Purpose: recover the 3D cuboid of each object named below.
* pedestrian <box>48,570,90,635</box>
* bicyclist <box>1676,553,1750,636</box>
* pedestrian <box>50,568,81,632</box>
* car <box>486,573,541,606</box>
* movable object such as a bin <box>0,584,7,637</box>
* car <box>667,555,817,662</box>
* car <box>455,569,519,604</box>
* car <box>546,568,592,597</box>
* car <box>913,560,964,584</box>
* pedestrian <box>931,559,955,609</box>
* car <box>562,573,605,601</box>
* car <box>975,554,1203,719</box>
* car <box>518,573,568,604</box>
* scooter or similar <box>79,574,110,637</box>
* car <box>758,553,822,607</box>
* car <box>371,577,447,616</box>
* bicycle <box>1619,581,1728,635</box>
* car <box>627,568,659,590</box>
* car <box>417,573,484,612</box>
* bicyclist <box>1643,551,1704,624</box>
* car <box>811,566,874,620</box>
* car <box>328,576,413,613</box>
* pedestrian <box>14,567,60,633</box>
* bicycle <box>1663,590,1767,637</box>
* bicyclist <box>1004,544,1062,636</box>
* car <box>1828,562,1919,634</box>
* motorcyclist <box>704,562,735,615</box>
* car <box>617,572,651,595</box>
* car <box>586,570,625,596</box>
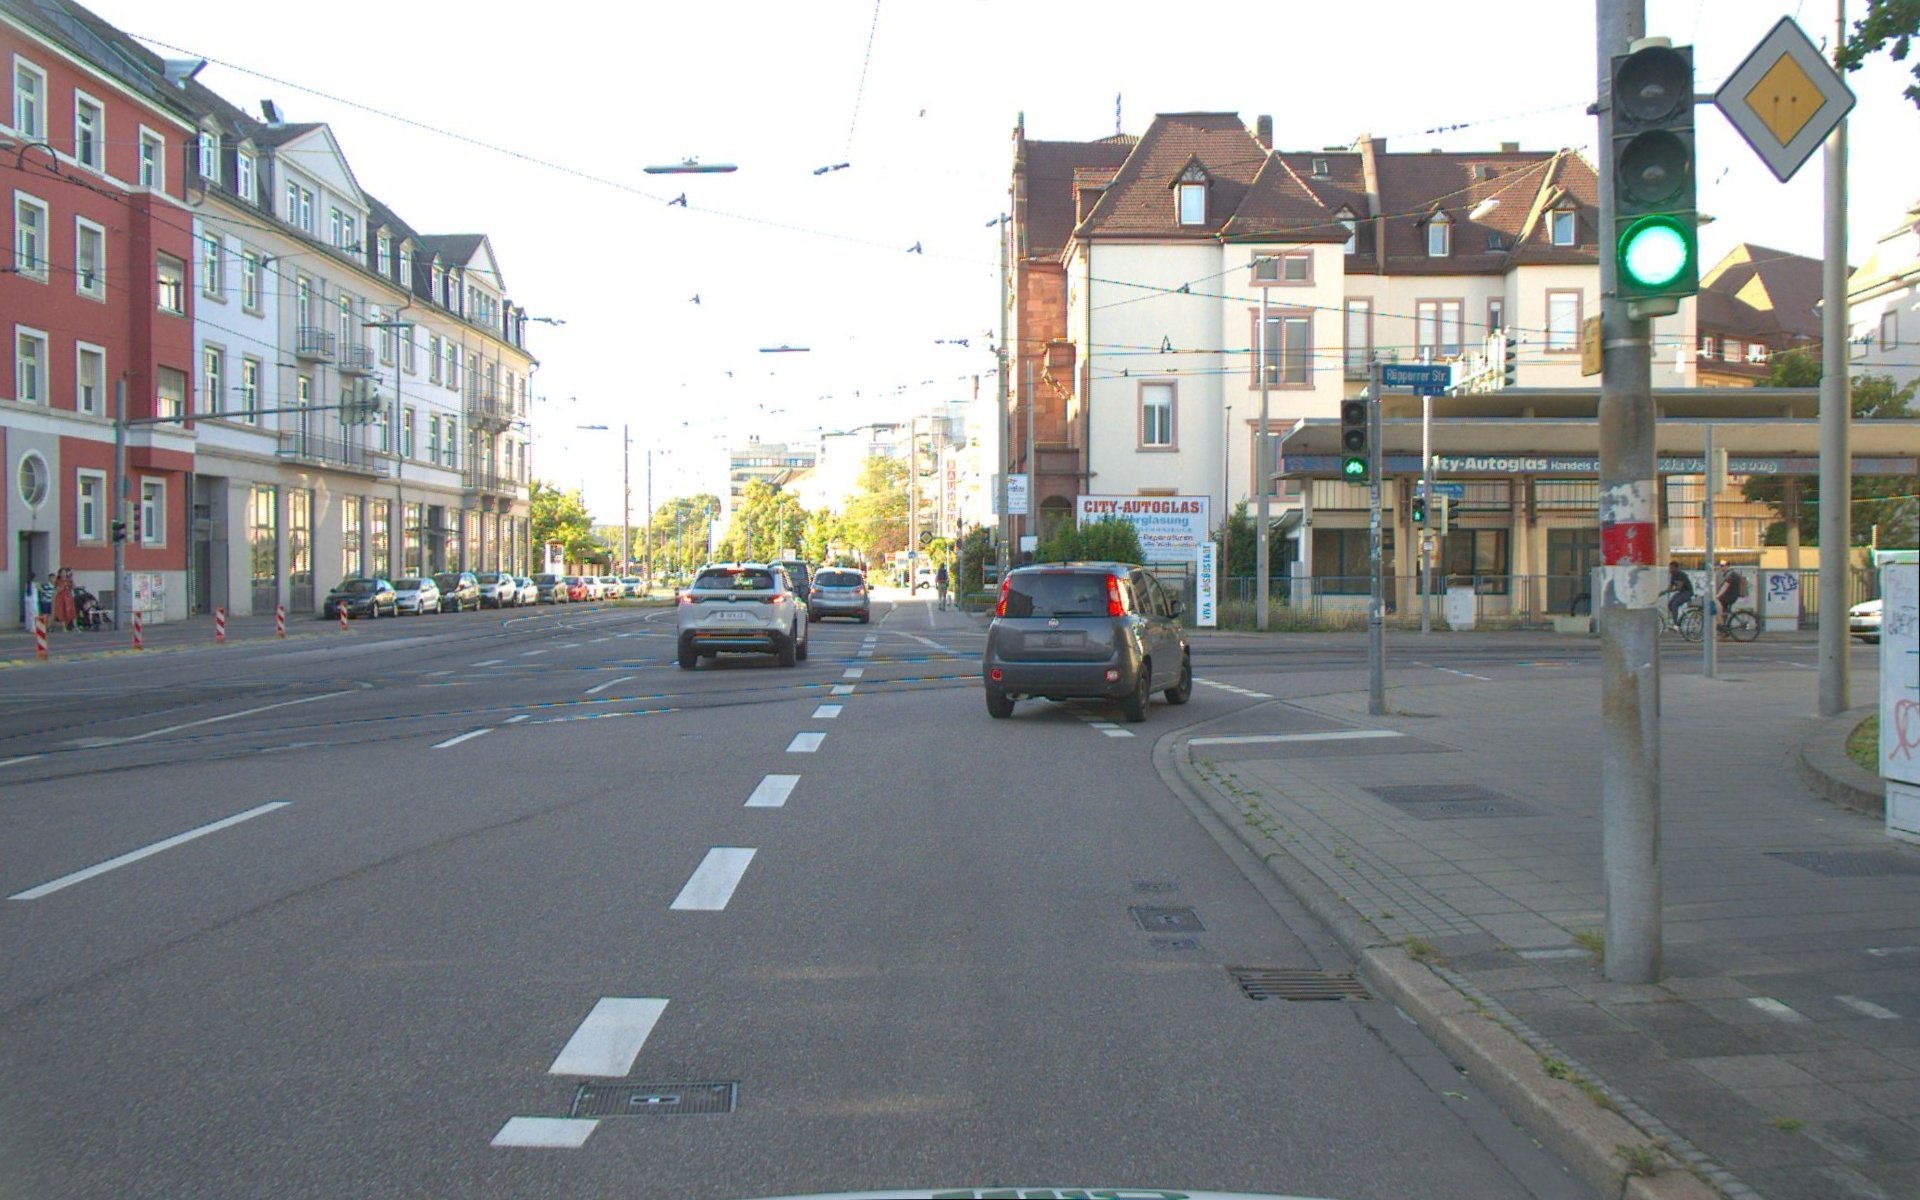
[{"bbox_3d":[-22.919,0.051,42.524,0.823,1.661,0.784,0,1,-39],"label":"pedestrian"},{"bbox_3d":[16.802,-0.124,36.938,1.225,1.818,0.910,0,0,-6],"label":"bicyclist"},{"bbox_3d":[-23.536,-0.010,43.518,0.647,1.661,0.786,0,1,-33],"label":"pedestrian"},{"bbox_3d":[-22.006,-0.549,81.600,1.684,1.579,3.999,0,1,-1],"label":"car"},{"bbox_3d":[-23.492,0.256,39.364,0.852,1.271,1.234,0,1,5],"label":"movable object such as a bin"},{"bbox_3d":[-3.356,0.079,26.161,1.908,1.555,4.089,0,1,-1],"label":"car"},{"bbox_3d":[-21.828,-0.642,76.463,1.798,1.579,4.273,0,1,-1],"label":"car"},{"bbox_3d":[-21.875,-1.002,92.636,1.684,1.579,3.999,0,1,-1],"label":"car"},{"bbox_3d":[-1.890,-2.454,145.689,4.181,2.049,1.995,0,1,-11],"label":"car"},{"bbox_3d":[-0.622,-0.593,61.688,0.857,1.856,1.184,0,1,0],"label":"pedestrian"},{"bbox_3d":[-22.158,-0.778,97.376,1.684,1.579,3.999,0,1,-1],"label":"car"},{"bbox_3d":[1.478,0.297,17.468,1.694,1.526,4.003,1,1,15],"label":"car"},{"bbox_3d":[-21.813,-0.629,86.681,1.684,1.579,3.999,0,1,-1],"label":"car"},{"bbox_3d":[-22.962,0.133,43.860,0.647,1.661,0.786,0,1,-33],"label":"scooter or similar"},{"bbox_3d":[-6.738,-0.811,65.987,2.128,2.044,4.807,0,1,-1],"label":"car"},{"bbox_3d":[-21.518,-0.166,64.748,1.684,1.477,3.999,0,1,-1],"label":"car"},{"bbox_3d":[15.473,0.165,35.912,2.014,1.145,0.897,0,1,7],"label":"bicycle"},{"bbox_3d":[-23.458,-1.577,122.479,1.684,1.579,3.999,0,1,-1],"label":"car"},{"bbox_3d":[-21.423,-0.323,69.702,1.684,1.579,3.855,0,1,-1],"label":"car"},{"bbox_3d":[15.488,-0.271,35.903,1.025,1.553,0.880,0,1,9],"label":"bicyclist"},{"bbox_3d":[-3.609,-0.245,51.261,1.777,1.609,3.999,0,1,-2],"label":"car"},{"bbox_3d":[-21.045,-0.220,59.174,1.684,1.254,3.999,0,1,-1],"label":"car"},{"bbox_3d":[-23.351,-0.006,41.848,0.776,1.661,0.655,0,1,17],"label":"pedestrian"},{"bbox_3d":[16.857,0.292,36.935,1.999,1.035,0.727,0,0,-1],"label":"bicycle"},{"bbox_3d":[1.254,-0.171,28.576,0.818,1.551,0.992,0,1,-9],"label":"bicyclist"},{"bbox_3d":[20.902,-0.035,35.046,4.090,1.483,1.796,0,0,0],"label":"car"},{"bbox_3d":[-6.606,-0.332,45.466,0.762,1.448,0.891,0,1,-3],"label":"motorcyclist"},{"bbox_3d":[-22.935,-1.196,116.482,1.684,1.579,3.999,0,1,-1],"label":"car"},{"bbox_3d":[-22.593,-1.093,105.631,1.684,1.579,3.999,0,1,-1],"label":"car"}]
